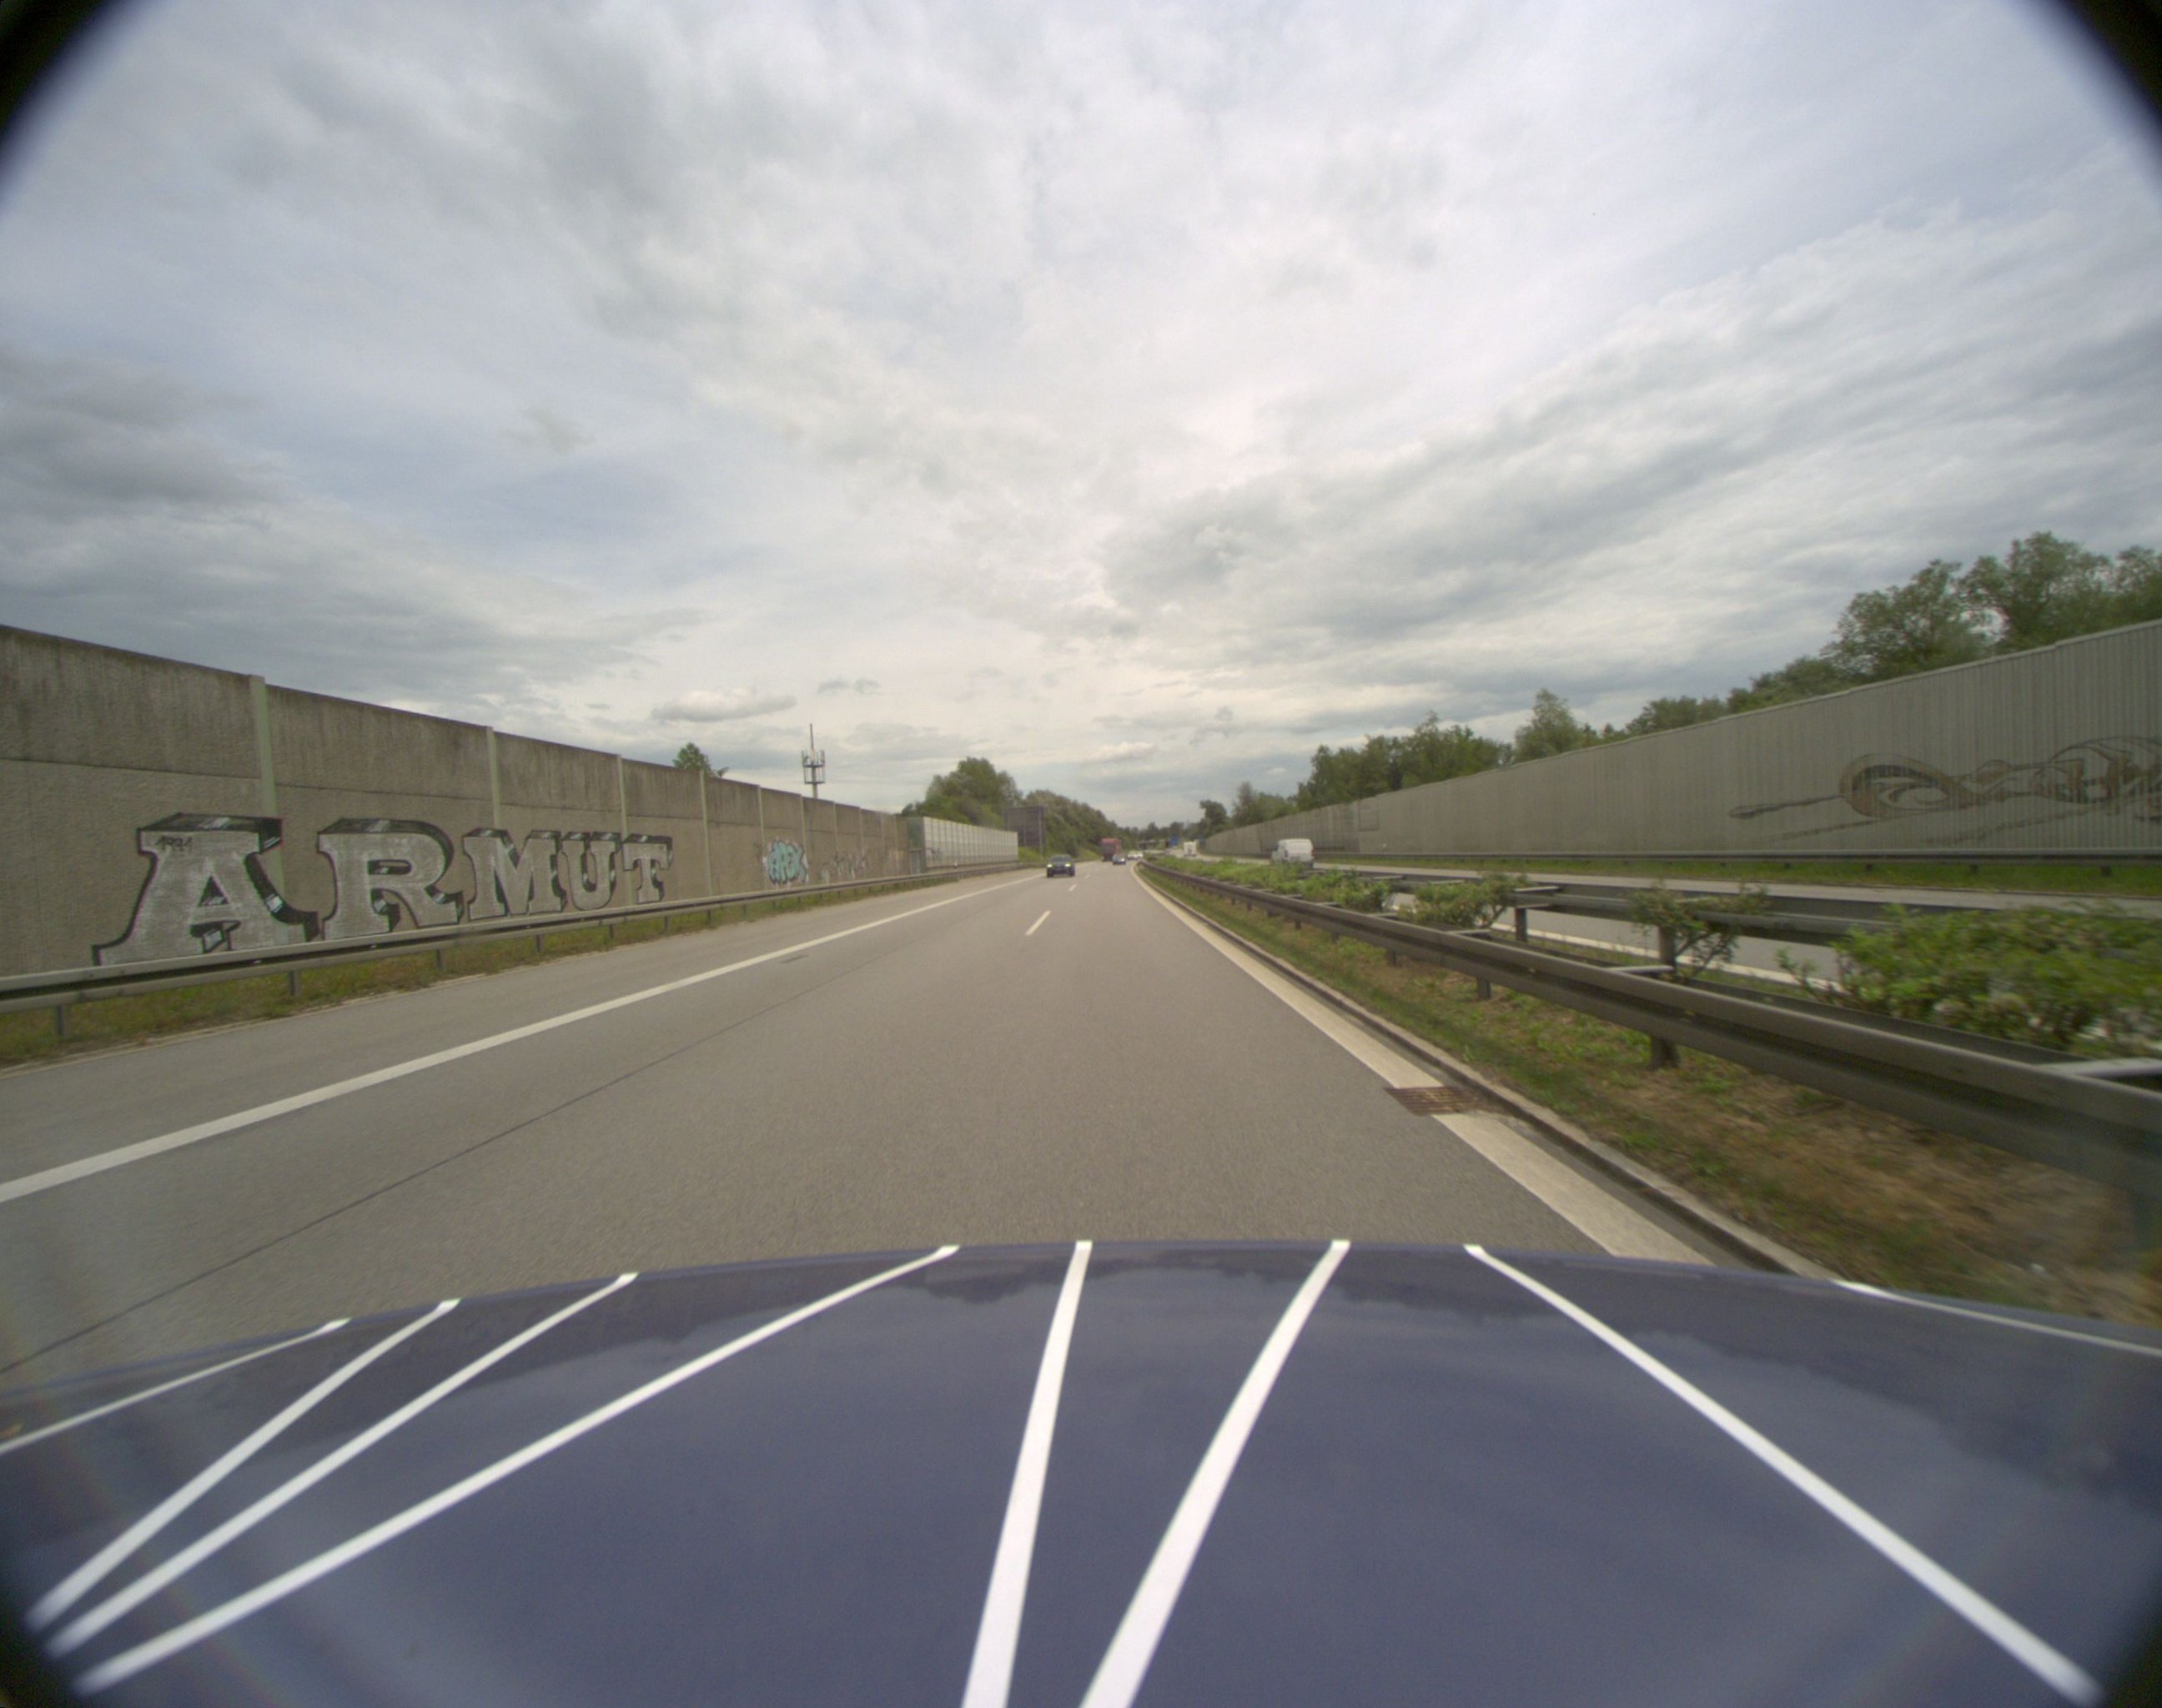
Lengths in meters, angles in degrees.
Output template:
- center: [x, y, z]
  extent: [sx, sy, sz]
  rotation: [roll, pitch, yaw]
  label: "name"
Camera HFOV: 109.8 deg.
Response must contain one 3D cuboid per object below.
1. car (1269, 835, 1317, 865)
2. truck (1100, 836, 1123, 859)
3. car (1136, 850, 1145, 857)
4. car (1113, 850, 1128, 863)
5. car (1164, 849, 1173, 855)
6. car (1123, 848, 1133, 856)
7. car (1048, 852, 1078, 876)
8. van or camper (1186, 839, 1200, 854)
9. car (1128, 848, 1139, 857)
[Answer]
- center: [13.030, -0.232, 47.008]
  extent: [1.746, 1.734, 4.627]
  rotation: [-2, 0, 1]
  label: "car"
- center: [5.773, -1.229, 140.399]
  extent: [2.932, 4.068, 11.348]
  rotation: [-2, 0, 8]
  label: "truck"
- center: [13.684, -0.158, 174.708]
  extent: [1.888, 1.608, 4.002]
  rotation: [-1, 1, 8]
  label: "car"
- center: [5.399, 0.353, 104.083]
  extent: [1.889, 1.608, 4.001]
  rotation: [-1, 1, 5]
  label: "car"
- center: [19.947, -0.470, 172.403]
  extent: [1.695, 1.412, 4.651]
  rotation: [-1, 0, 11]
  label: "car"
- center: [10.643, -0.490, 171.107]
  extent: [1.888, 1.608, 4.002]
  rotation: [-3, 0, 8]
  label: "car"
- center: [-1.268, 0.674, 54.828]
  extent: [1.889, 1.608, 4.000]
  rotation: [-1, 1, 2]
  label: "car"
- center: [22.633, -1.453, 153.809]
  extent: [2.470, 2.853, 7.774]
  rotation: [-2, 0, 10]
  label: "van or camper"
- center: [9.922, -0.278, 143.346]
  extent: [1.889, 1.608, 4.001]
  rotation: [-1, 1, 4]
  label: "car"
